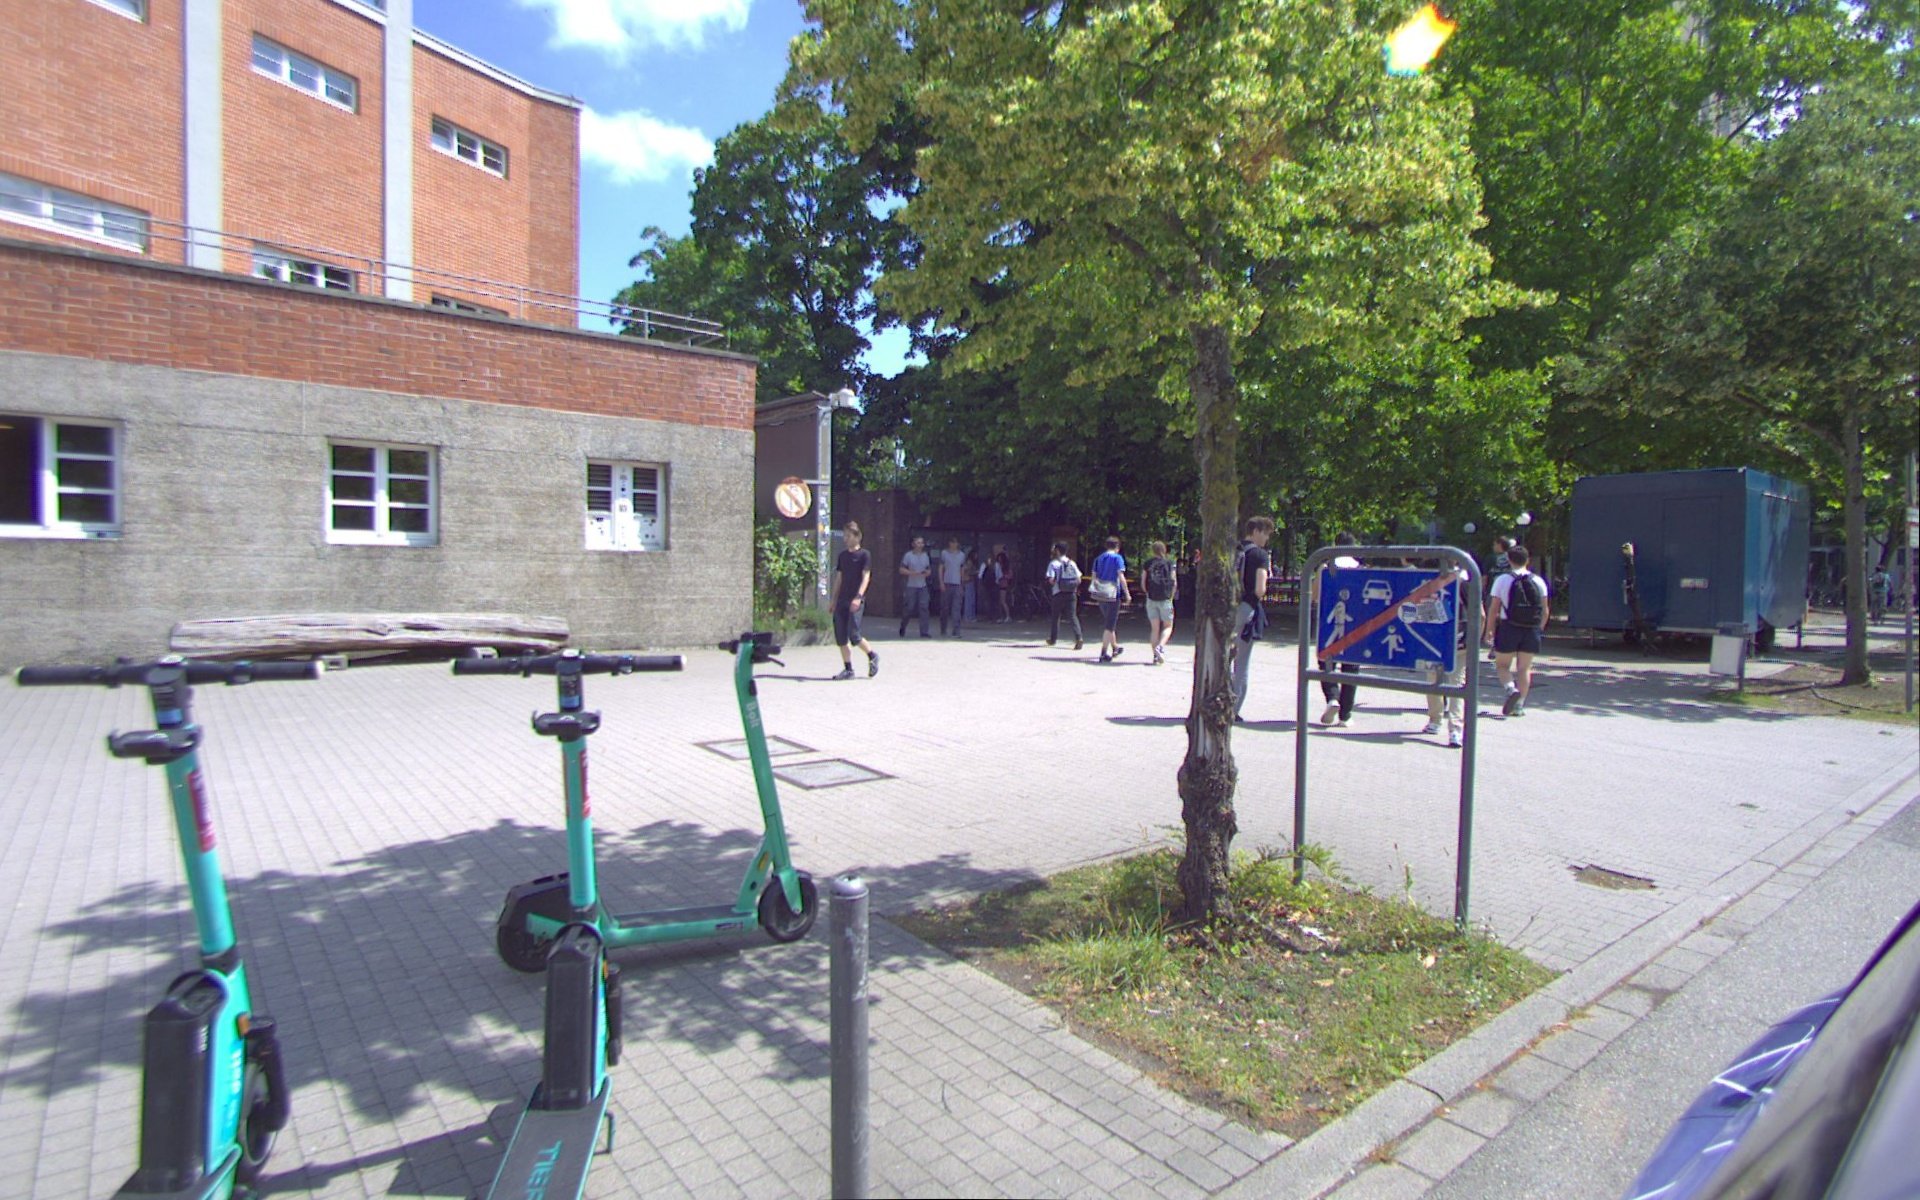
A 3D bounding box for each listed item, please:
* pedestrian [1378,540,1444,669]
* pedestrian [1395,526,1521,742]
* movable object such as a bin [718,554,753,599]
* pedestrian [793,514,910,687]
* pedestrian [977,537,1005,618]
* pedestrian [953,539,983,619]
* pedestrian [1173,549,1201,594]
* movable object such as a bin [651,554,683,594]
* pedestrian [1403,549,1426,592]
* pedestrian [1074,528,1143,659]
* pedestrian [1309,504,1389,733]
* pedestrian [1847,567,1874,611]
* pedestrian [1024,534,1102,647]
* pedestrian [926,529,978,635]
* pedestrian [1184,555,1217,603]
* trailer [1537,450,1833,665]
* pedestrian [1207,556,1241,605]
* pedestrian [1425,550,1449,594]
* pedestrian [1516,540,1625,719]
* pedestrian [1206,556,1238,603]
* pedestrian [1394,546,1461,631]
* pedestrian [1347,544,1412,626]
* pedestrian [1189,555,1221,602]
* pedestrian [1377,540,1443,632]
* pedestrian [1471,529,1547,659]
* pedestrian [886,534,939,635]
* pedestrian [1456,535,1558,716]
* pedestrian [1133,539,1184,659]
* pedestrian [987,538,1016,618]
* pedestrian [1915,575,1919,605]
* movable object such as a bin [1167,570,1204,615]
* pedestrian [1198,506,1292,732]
[{"bbox_3d":[6.343,0.038,14.282,0.694,1.741,0.989,1,2,17],"label":"pedestrian"},{"bbox_3d":[4.358,0.257,8.924,0.844,1.794,0.799,2,3,20],"label":"pedestrian"},{"bbox_3d":[-6.865,-0.706,30.929,0.754,1.337,0.784,1,0,-39],"label":"movable object such as a bin"},{"bbox_3d":[-1.251,-0.019,11.714,0.761,1.889,1.059,5,4,44],"label":"pedestrian"},{"bbox_3d":[0.730,-0.529,24.009,0.547,1.906,0.530,1,1,-9],"label":"pedestrian"},{"bbox_3d":[0.193,-0.513,24.413,0.523,1.905,0.554,2,3,23],"label":"pedestrian"},{"bbox_3d":[8.362,-1.062,37.237,0.715,1.600,0.659,6,4,38],"label":"pedestrian"},{"bbox_3d":[-9.779,-0.863,33.741,0.754,1.337,0.784,1,0,-39],"label":"movable object such as a bin"},{"bbox_3d":[21.617,-1.405,48.128,0.828,1.972,1.067,4,3,30],"label":"pedestrian"},{"bbox_3d":[2.134,-0.119,14.553,0.707,1.809,0.742,2,3,39],"label":"pedestrian"},{"bbox_3d":[3.573,0.137,9.352,0.610,2.004,0.824,2,3,19],"label":"pedestrian"},{"bbox_3d":[34.145,-0.422,38.385,0.911,1.590,0.570,-5,6,-39],"label":"pedestrian"},{"bbox_3d":[1.640,-0.176,16.213,0.697,1.737,1.109,-2,3,-35],"label":"pedestrian"},{"bbox_3d":[-0.151,-0.347,18.549,0.716,1.905,0.838,-1,3,-20],"label":"pedestrian"},{"bbox_3d":[7.087,-0.622,29.837,0.717,1.362,0.570,0,4,-44],"label":"pedestrian"},{"bbox_3d":[12.754,-0.725,17.609,6.148,3.088,2.698,-1,3,-41],"label":"trailer"},{"bbox_3d":[7.634,-0.551,29.237,0.717,1.362,0.570,0,4,-44],"label":"pedestrian"},{"bbox_3d":[22.447,-1.322,47.615,0.828,1.972,1.067,4,3,30],"label":"pedestrian"},{"bbox_3d":[6.364,0.272,10.604,0.691,1.760,0.979,2,2,17],"label":"pedestrian"},{"bbox_3d":[7.838,-0.606,30.277,0.717,1.362,0.570,0,4,-44],"label":"pedestrian"},{"bbox_3d":[9.589,-0.259,20.747,0.932,1.657,0.878,-2,4,-39],"label":"pedestrian"},{"bbox_3d":[8.834,-0.329,21.305,0.932,1.657,0.878,-2,4,-39],"label":"pedestrian"},{"bbox_3d":[7.440,-0.657,30.696,0.717,1.362,0.570,0,4,-44],"label":"pedestrian"},{"bbox_3d":[8.180,-0.266,18.438,0.836,1.614,0.829,2,2,8],"label":"pedestrian"},{"bbox_3d":[8.364,-0.130,15.412,0.849,1.882,1.103,3,4,35],"label":"pedestrian"},{"bbox_3d":[-0.860,-0.298,18.188,0.716,1.760,0.838,-1,2,-20],"label":"pedestrian"},{"bbox_3d":[5.638,0.233,10.478,0.669,1.760,0.904,3,2,18],"label":"pedestrian"},{"bbox_3d":[2.796,-0.034,14.240,0.500,1.650,0.563,2,3,39],"label":"pedestrian"},{"bbox_3d":[0.995,-0.534,24.513,0.518,1.906,0.449,0,1,-29],"label":"pedestrian"},{"bbox_3d":[50.667,-0.514,53.079,0.795,1.560,0.653,3,3,45],"label":"pedestrian"},{"bbox_3d":[5.695,-0.195,25.545,0.729,1.084,0.601,-3,3,-38],"label":"movable object such as a bin"},{"bbox_3d":[2.670,0.140,9.454,0.684,2.004,0.822,2,3,25],"label":"pedestrian"}]
